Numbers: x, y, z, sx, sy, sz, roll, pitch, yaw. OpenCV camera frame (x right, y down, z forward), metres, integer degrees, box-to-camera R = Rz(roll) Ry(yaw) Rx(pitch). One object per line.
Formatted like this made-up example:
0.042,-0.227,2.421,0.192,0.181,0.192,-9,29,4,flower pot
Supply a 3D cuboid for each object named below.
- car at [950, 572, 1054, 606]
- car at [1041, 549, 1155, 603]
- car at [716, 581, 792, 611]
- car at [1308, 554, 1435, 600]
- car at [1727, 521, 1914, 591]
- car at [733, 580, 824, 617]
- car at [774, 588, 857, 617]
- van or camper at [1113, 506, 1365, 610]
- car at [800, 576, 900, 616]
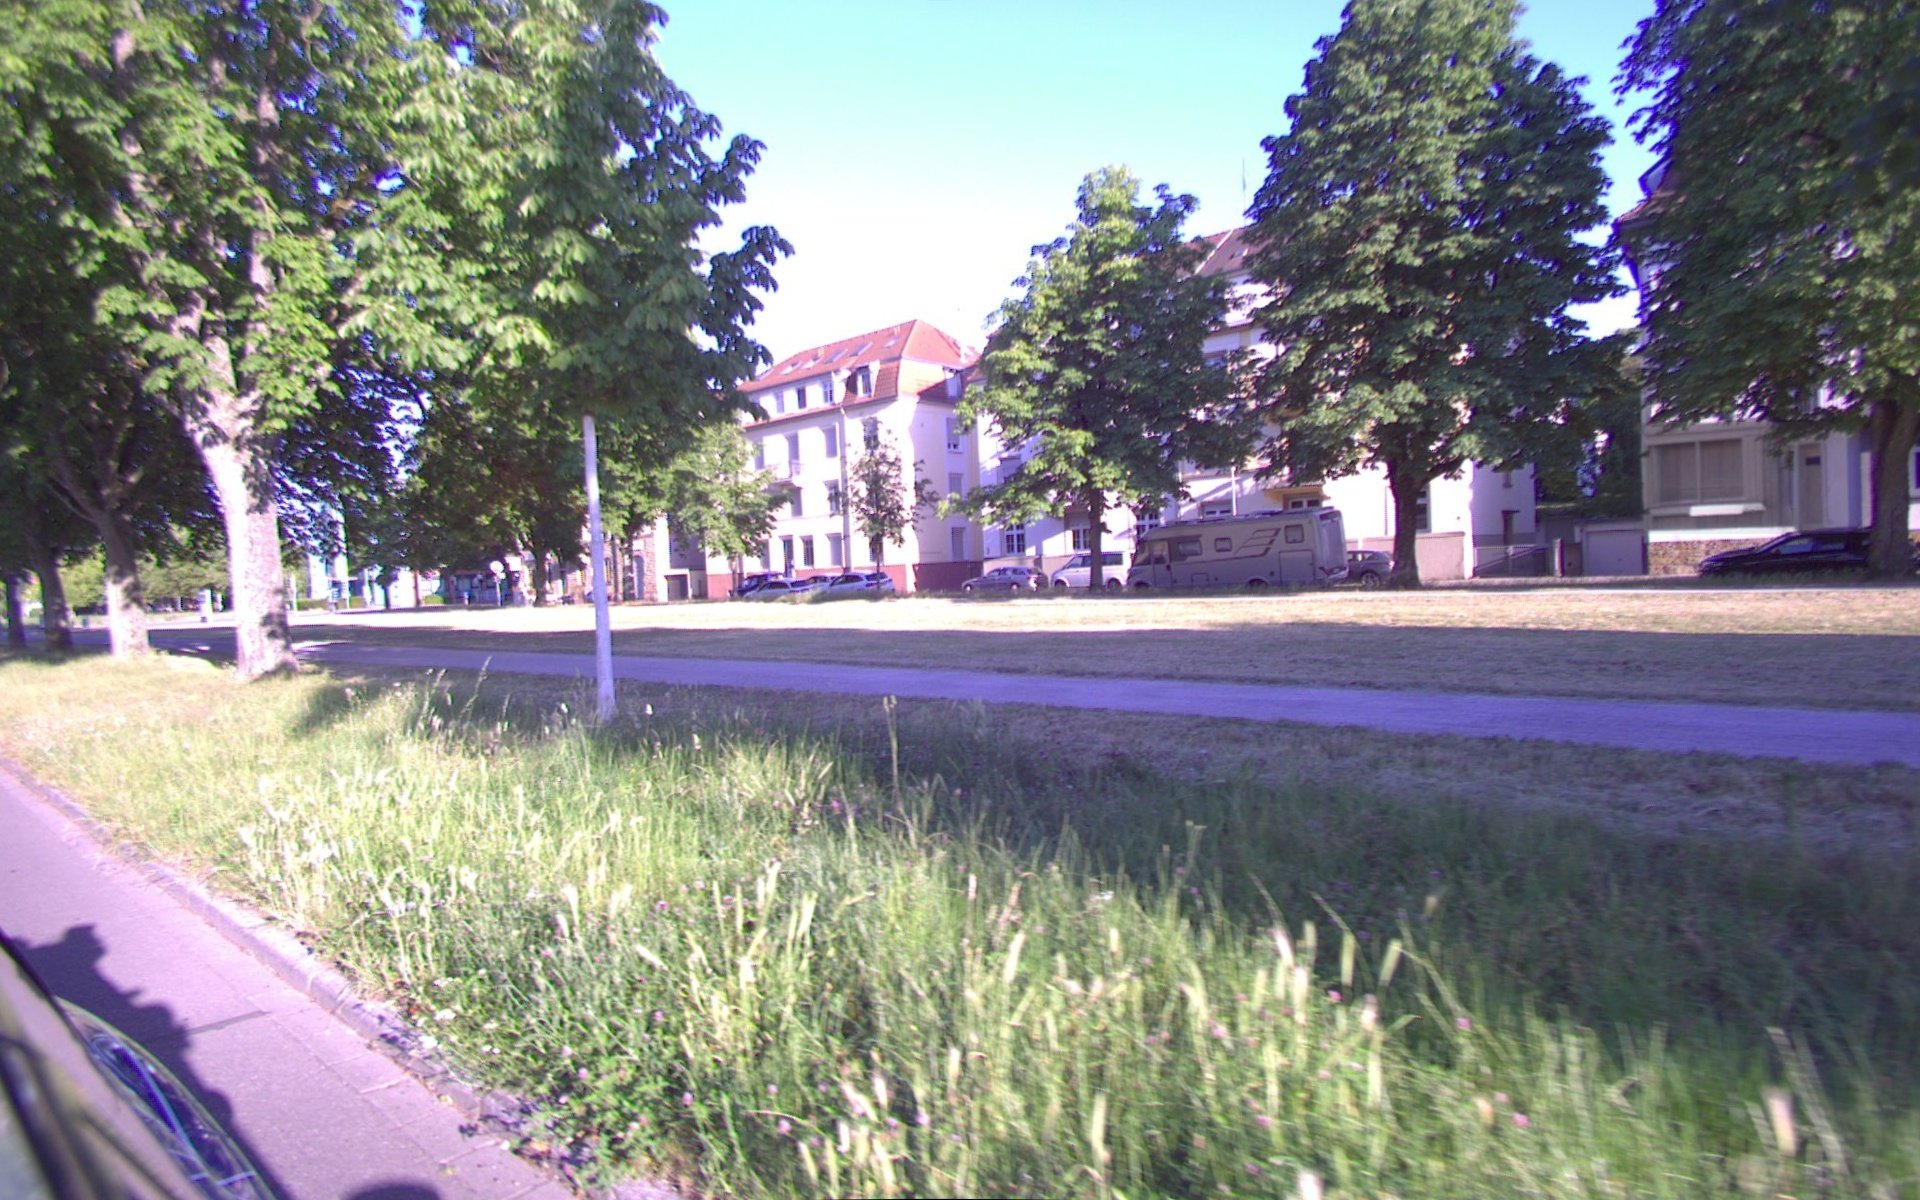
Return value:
2.029,-0.516,49.735,4.871,1.464,1.974,-2,1,39,car
6.256,-1.067,46.288,4.876,2.219,1.972,-2,1,43,car
-12.890,-0.237,63.272,4.871,1.703,1.974,-2,1,39,car
15.503,-0.851,38.193,3.998,1.475,1.973,-2,2,41,car
24.887,-1.240,29.365,4.000,1.747,1.972,-2,1,43,car
-9.433,-0.063,52.341,4.874,1.703,1.973,-2,1,42,car
-8.475,0.146,58.951,4.871,1.464,1.974,-2,1,39,car
9.689,-1.385,35.766,7.894,3.134,3.220,-2,1,42,van or camper
-5.333,-0.160,48.736,4.874,1.703,1.973,-2,1,42,car
